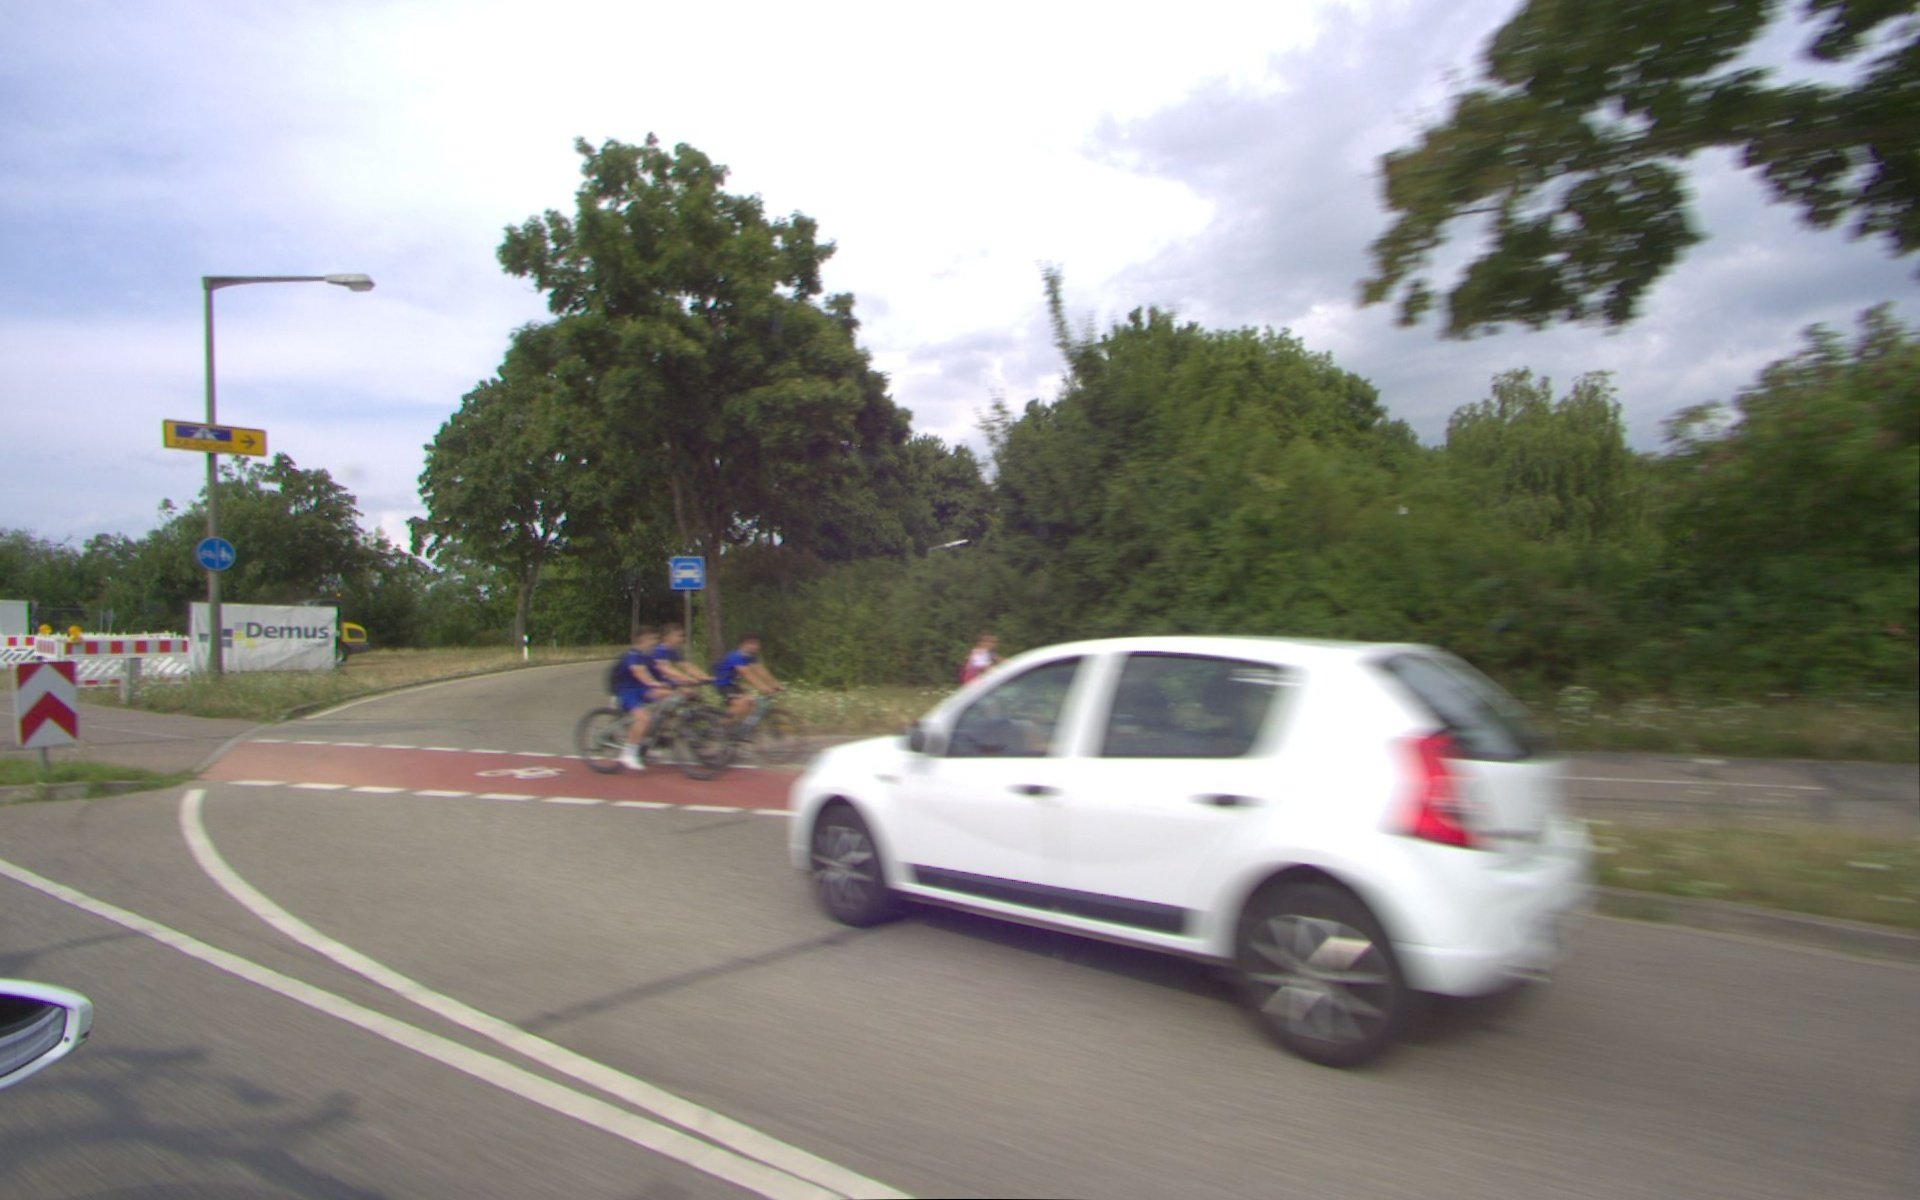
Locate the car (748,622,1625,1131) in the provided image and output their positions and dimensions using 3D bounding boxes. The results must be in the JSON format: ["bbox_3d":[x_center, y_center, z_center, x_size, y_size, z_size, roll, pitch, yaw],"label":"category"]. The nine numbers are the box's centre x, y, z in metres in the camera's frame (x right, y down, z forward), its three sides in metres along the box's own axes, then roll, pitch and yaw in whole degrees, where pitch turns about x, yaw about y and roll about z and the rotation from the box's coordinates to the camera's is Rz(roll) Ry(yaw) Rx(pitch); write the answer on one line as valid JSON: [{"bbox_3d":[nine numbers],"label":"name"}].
[{"bbox_3d":[0.840,0.934,5.065,3.959,1.520,1.838,-2,-4,44],"label":"car"}]

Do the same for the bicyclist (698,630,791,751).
[{"bbox_3d":[-2.800,1.155,13.040,0.941,1.505,0.742,-1,-2,20],"label":"bicyclist"}]

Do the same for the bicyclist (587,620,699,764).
[{"bbox_3d":[-3.543,1.009,11.232,0.941,1.537,0.742,-1,-2,19],"label":"bicyclist"}]

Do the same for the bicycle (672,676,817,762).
[{"bbox_3d":[-2.807,1.530,13.052,1.756,1.019,0.620,-1,1,20],"label":"bicycle"}]

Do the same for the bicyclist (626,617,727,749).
[{"bbox_3d":[-3.435,0.988,12.171,0.941,1.537,0.742,-1,-2,18],"label":"bicyclist"}]

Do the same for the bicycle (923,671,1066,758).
[{"bbox_3d":[0.446,1.478,13.168,1.758,1.019,0.620,-1,1,25],"label":"bicycle"}]

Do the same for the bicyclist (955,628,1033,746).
[{"bbox_3d":[0.455,1.122,13.145,0.792,1.492,0.741,-1,-2,24],"label":"bicyclist"}]

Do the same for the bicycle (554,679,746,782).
[{"bbox_3d":[-3.456,1.418,11.149,2.066,1.018,0.621,0,-3,20],"label":"bicycle"}]

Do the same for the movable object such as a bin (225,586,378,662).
[{"bbox_3d":[-25.181,0.942,38.404,2.076,2.723,4.485,-2,-2,38],"label":"movable object such as a bin"}]

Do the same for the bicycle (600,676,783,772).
[{"bbox_3d":[-3.248,1.466,12.099,2.156,1.049,0.596,0,-3,20],"label":"bicycle"}]
